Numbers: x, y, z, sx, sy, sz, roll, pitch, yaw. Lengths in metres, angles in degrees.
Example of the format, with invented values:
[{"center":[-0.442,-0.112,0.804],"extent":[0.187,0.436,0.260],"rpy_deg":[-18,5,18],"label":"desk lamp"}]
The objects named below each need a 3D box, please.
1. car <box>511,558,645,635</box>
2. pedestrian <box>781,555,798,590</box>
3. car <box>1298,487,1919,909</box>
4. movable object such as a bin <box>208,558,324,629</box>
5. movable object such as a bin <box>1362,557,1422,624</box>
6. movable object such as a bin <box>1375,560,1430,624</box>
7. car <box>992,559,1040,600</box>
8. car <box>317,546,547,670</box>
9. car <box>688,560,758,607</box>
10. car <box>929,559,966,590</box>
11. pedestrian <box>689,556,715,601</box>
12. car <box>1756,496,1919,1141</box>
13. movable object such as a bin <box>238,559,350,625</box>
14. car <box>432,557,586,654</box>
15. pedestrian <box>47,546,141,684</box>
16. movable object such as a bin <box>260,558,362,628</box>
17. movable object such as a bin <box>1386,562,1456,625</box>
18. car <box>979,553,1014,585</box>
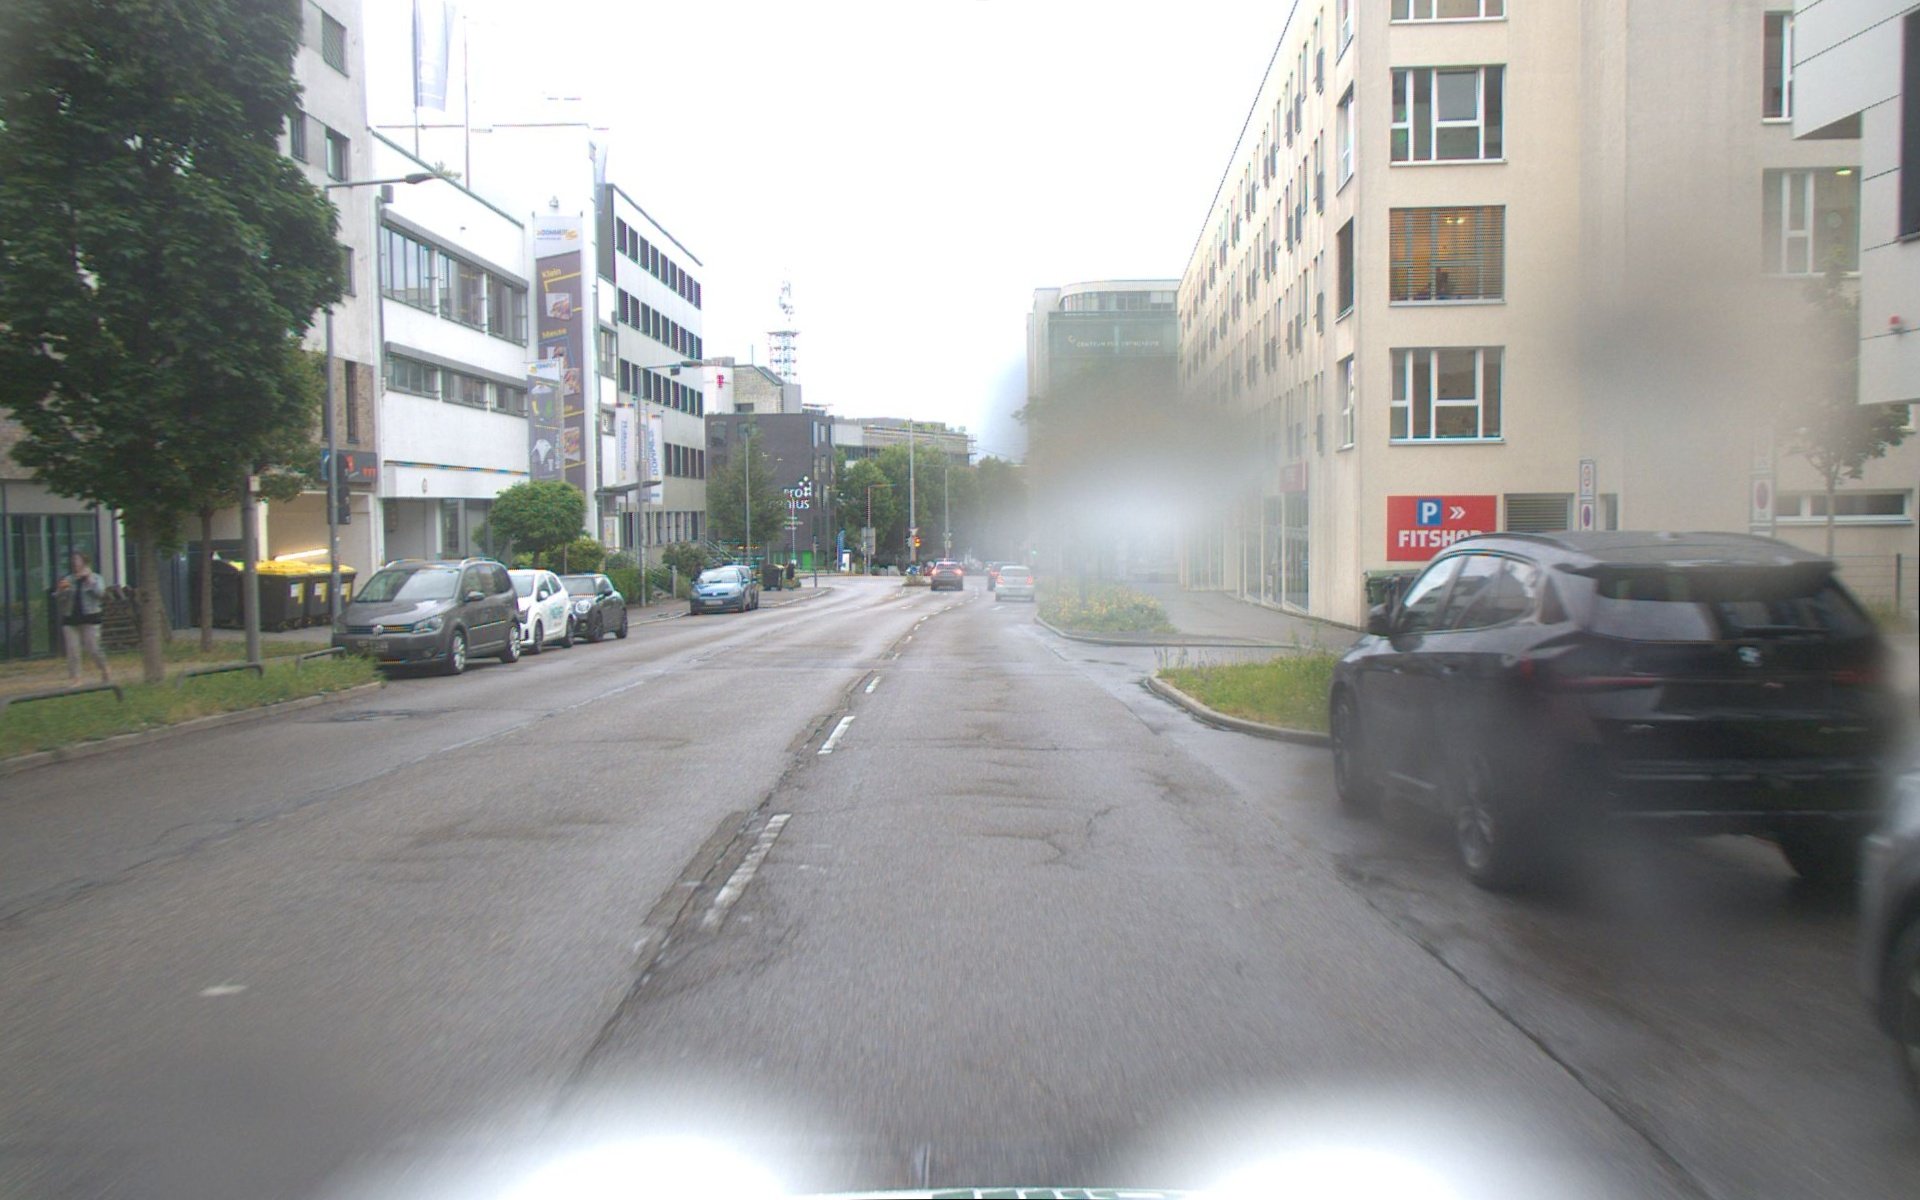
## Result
[{"center":[-8.019,-0.099,35.118],"extent":[1.759,1.542,4.246],"rpy_deg":[0,1,1],"label":"car"},{"center":[-9.936,-1.608,96.459],"extent":[0.942,1.989,0.776],"rpy_deg":[0,0,-12],"label":"pedestrian"},{"center":[3.240,0.310,9.065],"extent":[1.771,1.708,4.713],"rpy_deg":[0,2,-1],"label":"car"},{"center":[-14.988,-0.151,35.780],"extent":[1.986,1.454,1.289],"rpy_deg":[1,1,-4],"label":"movable object such as a bin"},{"center":[10.101,-0.228,38.699],"extent":[1.149,1.529,1.014],"rpy_deg":[-1,1,2],"label":"movable object such as a bin"},{"center":[10.074,-0.193,37.678],"extent":[1.000,1.427,1.058],"rpy_deg":[-1,1,2],"label":"movable object such as a bin"},{"center":[2.335,-0.896,69.376],"extent":[1.952,1.604,3.998],"rpy_deg":[0,2,1],"label":"car"},{"center":[-7.864,0.034,25.150],"extent":[2.035,1.637,4.685],"rpy_deg":[-2,2,-1],"label":"car"},{"center":[-7.780,-0.549,54.718],"extent":[1.875,1.507,4.354],"rpy_deg":[0,1,-3],"label":"car"},{"center":[-0.706,-1.454,96.108],"extent":[2.098,1.758,4.000],"rpy_deg":[0,1,0],"label":"car"},{"center":[-10.047,-0.828,64.348],"extent":[0.720,1.738,0.895],"rpy_deg":[-1,0,-27],"label":"pedestrian"},{"center":[3.295,0.567,2.863],"extent":[1.713,1.633,4.373],"rpy_deg":[0,1,-1],"label":"car"},{"center":[-14.941,-0.196,37.154],"extent":[2.013,1.448,1.316],"rpy_deg":[0,1,-4],"label":"movable object such as a bin"},{"center":[-8.193,0.044,30.389],"extent":[1.737,1.628,4.032],"rpy_deg":[-1,2,-1],"label":"car"},{"center":[-11.002,0.173,21.046],"extent":[0.694,1.712,0.956],"rpy_deg":[-1,2,-4],"label":"pedestrian"},{"center":[-15.127,-0.177,38.624],"extent":[1.760,1.536,1.481],"rpy_deg":[-2,1,-4],"label":"movable object such as a bin"},{"center":[10.164,-0.148,36.527],"extent":[1.209,1.343,1.192],"rpy_deg":[-1,0,2],"label":"movable object such as a bin"},{"center":[2.088,-1.825,95.133],"extent":[1.953,1.780,3.673],"rpy_deg":[-1,2,0],"label":"car"}]
